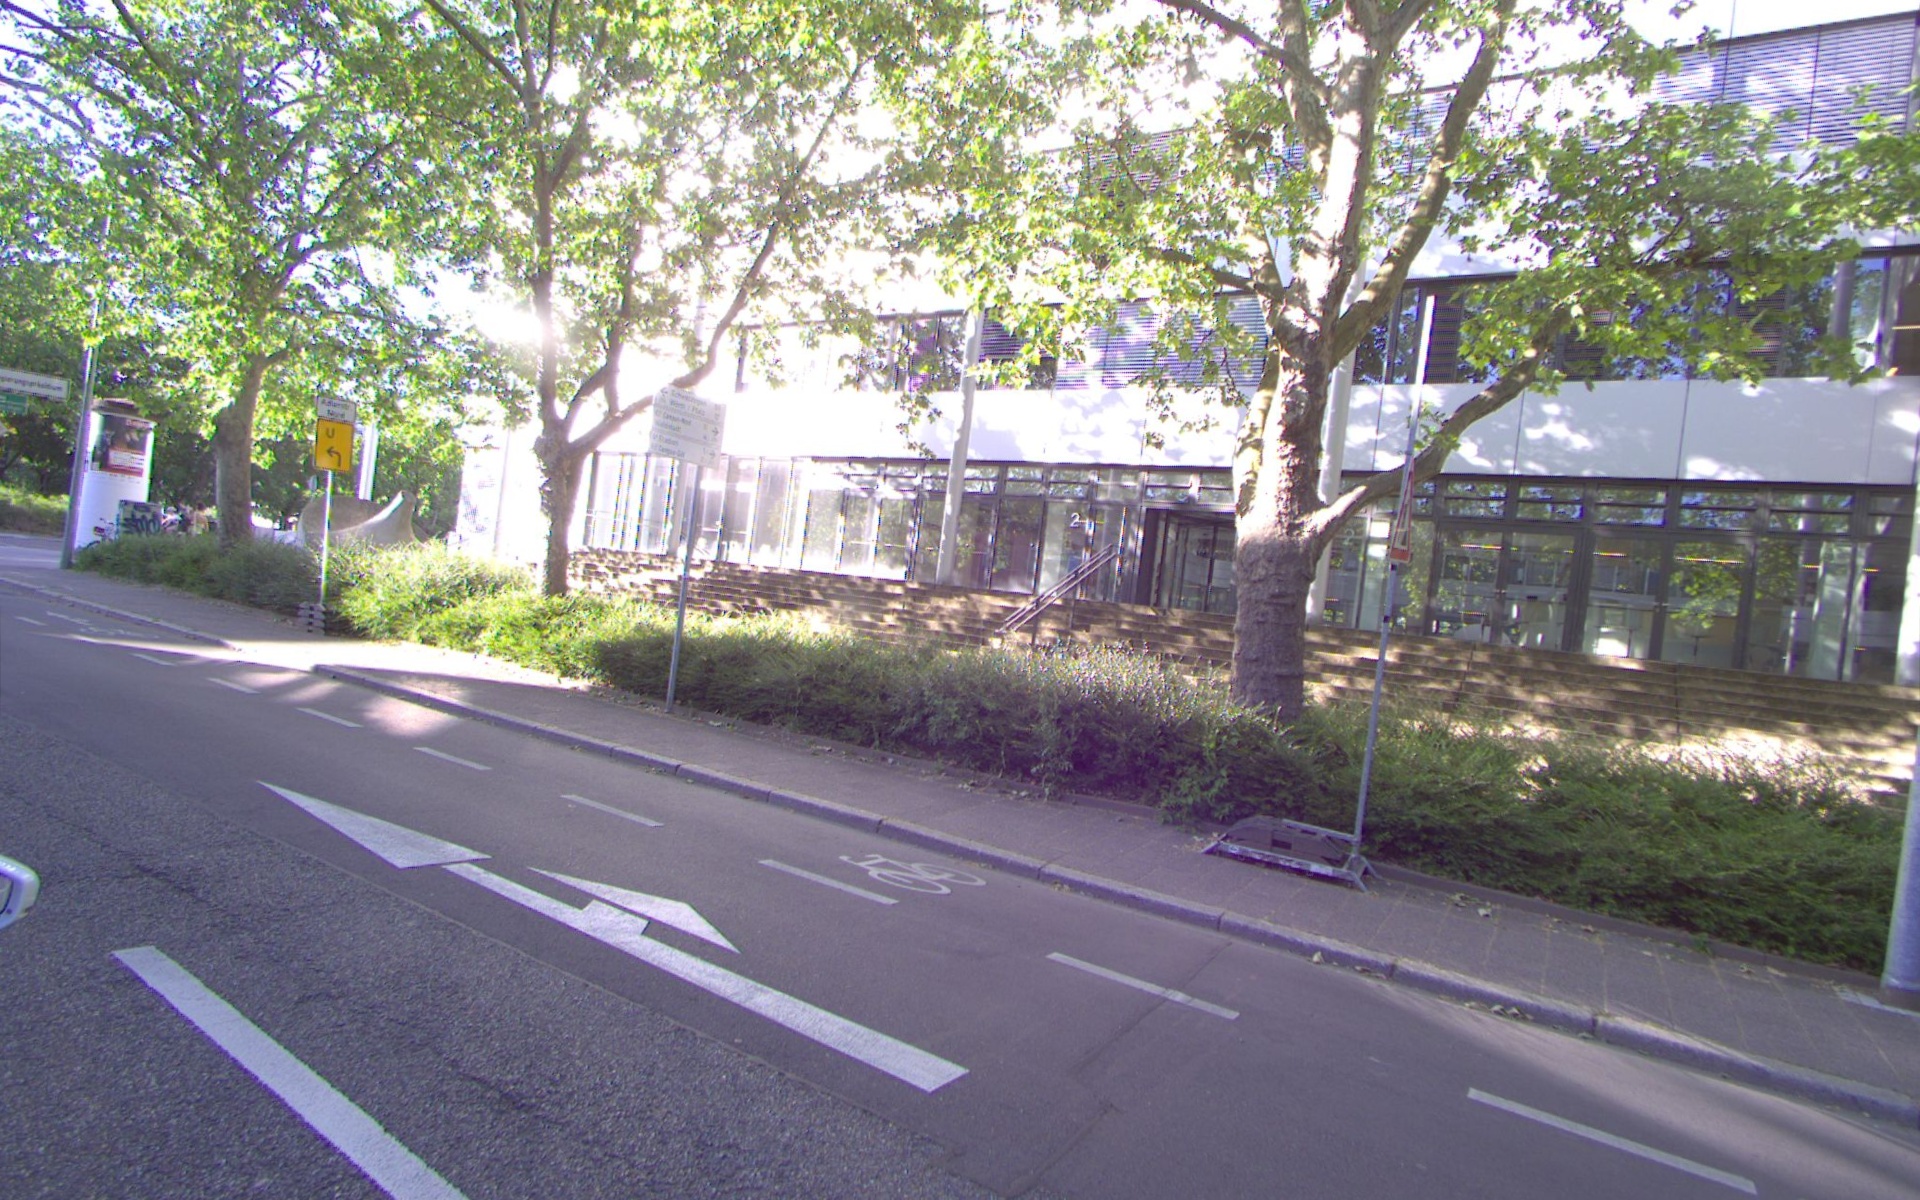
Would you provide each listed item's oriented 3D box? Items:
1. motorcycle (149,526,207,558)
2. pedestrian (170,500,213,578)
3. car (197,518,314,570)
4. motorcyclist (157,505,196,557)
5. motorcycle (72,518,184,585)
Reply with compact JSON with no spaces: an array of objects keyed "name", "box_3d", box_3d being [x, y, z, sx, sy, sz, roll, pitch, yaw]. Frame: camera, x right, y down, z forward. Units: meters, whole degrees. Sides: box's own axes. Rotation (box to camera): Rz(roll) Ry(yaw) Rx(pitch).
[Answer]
[{"name":"motorcycle","box_3d":[-31.399,-2.307,40.408,0.409,1.014,1.720,7,-1,36]},{"name":"pedestrian","box_3d":[-19.107,-1.519,25.002,0.645,1.849,0.659,7,0,-41]},{"name":"car","box_3d":[-32.707,-2.565,46.824,1.708,1.792,3.996,7,-1,30]},{"name":"motorcyclist","box_3d":[-31.415,-2.759,40.336,0.370,1.899,0.983,6,-1,36]},{"name":"motorcycle","box_3d":[-19.232,-1.097,23.284,0.712,1.257,1.782,6,-2,37]}]
